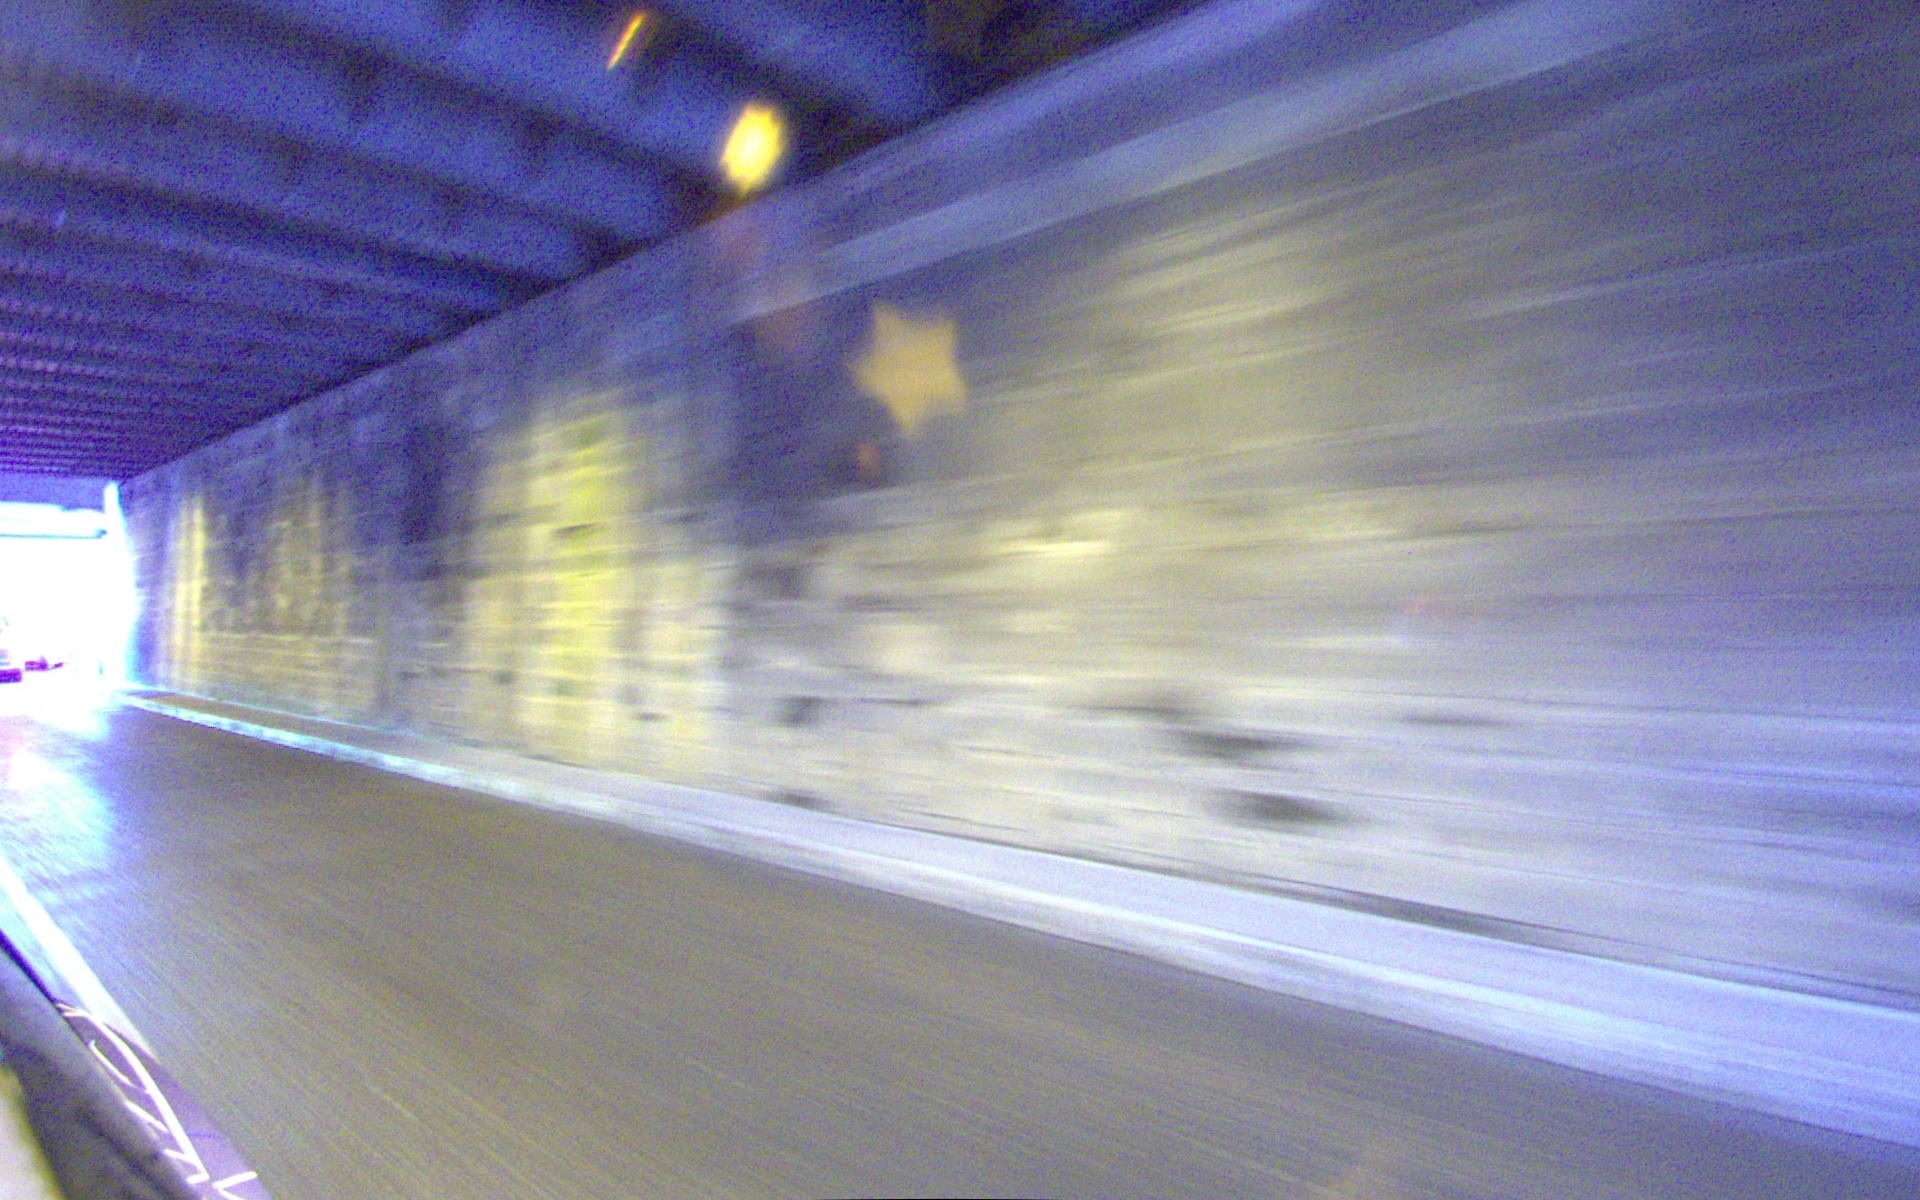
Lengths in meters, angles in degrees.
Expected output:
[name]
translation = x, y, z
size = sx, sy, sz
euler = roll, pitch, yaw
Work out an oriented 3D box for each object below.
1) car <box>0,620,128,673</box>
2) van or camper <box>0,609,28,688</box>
[car]
translation = -32.471, 1.617, 36.750
size = 1.966, 1.541, 4.514
euler = -5, 2, -20
[van or camper]
translation = -24.842, 1.165, 25.473
size = 1.970, 1.882, 5.144
euler = 1, -1, -43
